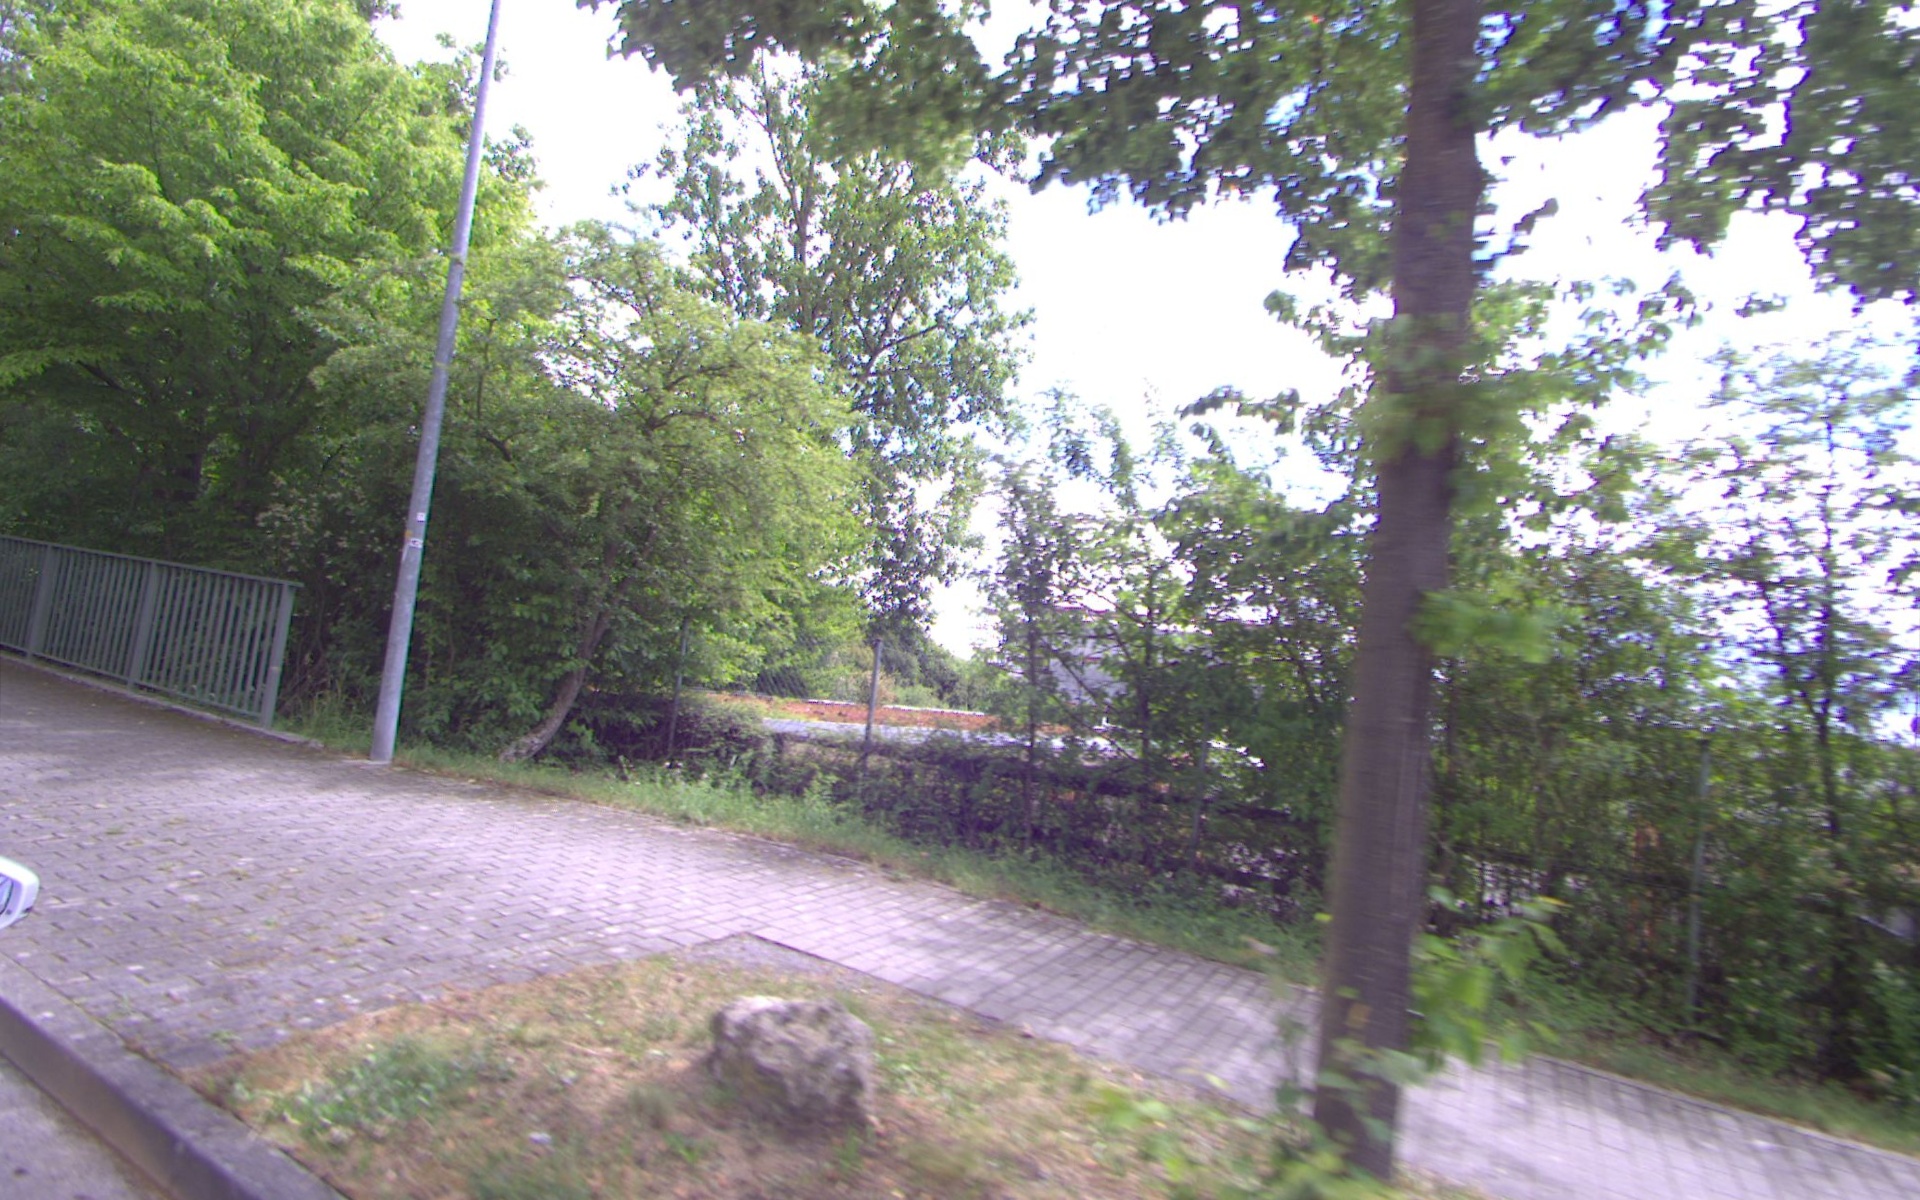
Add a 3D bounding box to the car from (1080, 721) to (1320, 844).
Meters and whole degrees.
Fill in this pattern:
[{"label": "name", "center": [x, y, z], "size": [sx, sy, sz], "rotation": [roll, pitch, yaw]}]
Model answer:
[{"label": "car", "center": [6.992, 5.205, 29.527], "size": [6.358, 2.719, 2.279], "rotation": [2, -4, 28]}]
